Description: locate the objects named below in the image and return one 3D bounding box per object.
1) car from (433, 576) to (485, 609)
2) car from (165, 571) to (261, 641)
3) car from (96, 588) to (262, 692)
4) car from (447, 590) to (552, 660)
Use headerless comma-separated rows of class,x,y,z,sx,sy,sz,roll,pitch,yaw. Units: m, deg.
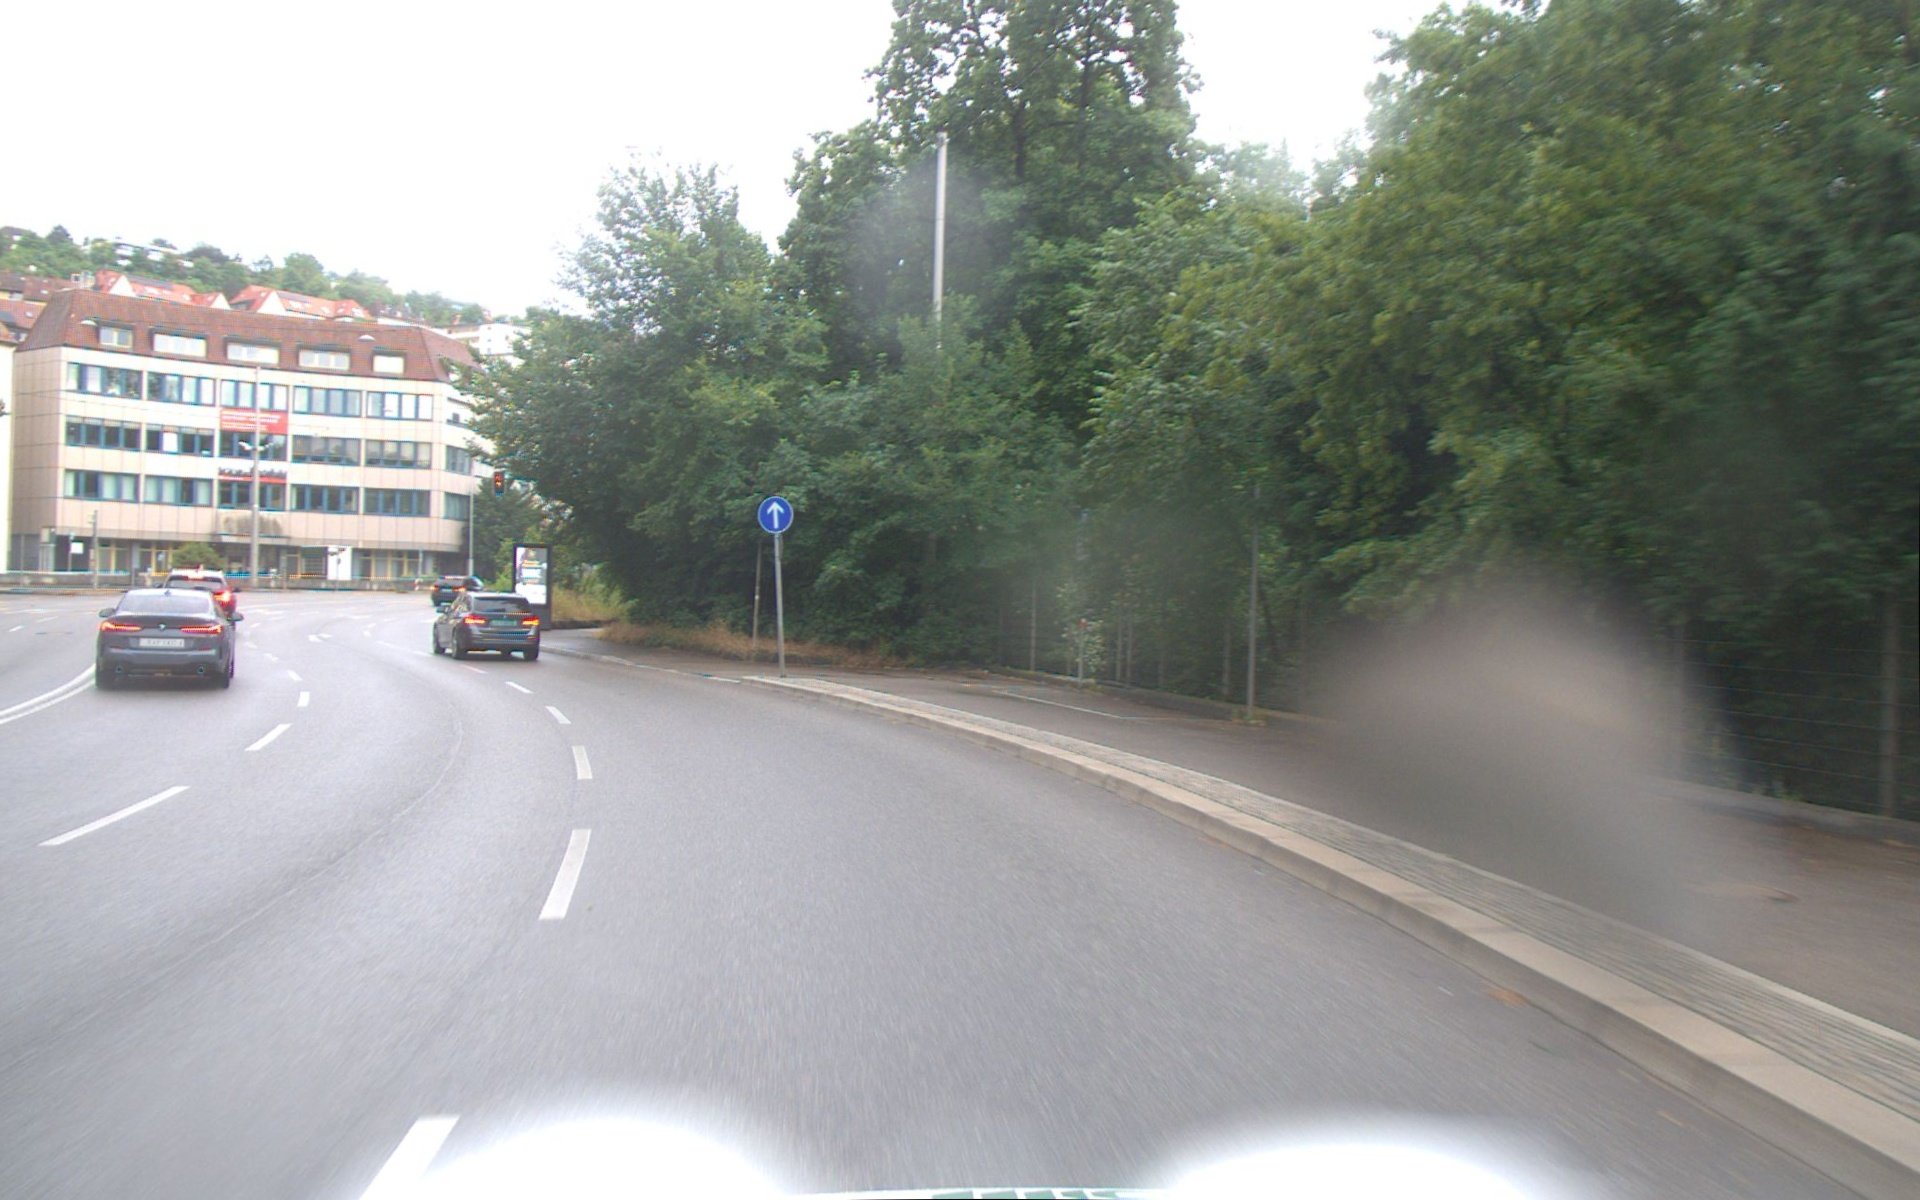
car,-23.493,-0.384,77.700,1.759,1.450,4.602,2,0,-10
car,-19.341,0.149,42.948,1.871,1.723,3.978,1,0,-19
car,-11.914,0.575,25.483,1.763,1.451,4.361,1,0,-18
car,-10.293,0.535,36.790,1.930,1.451,4.100,1,0,-20
